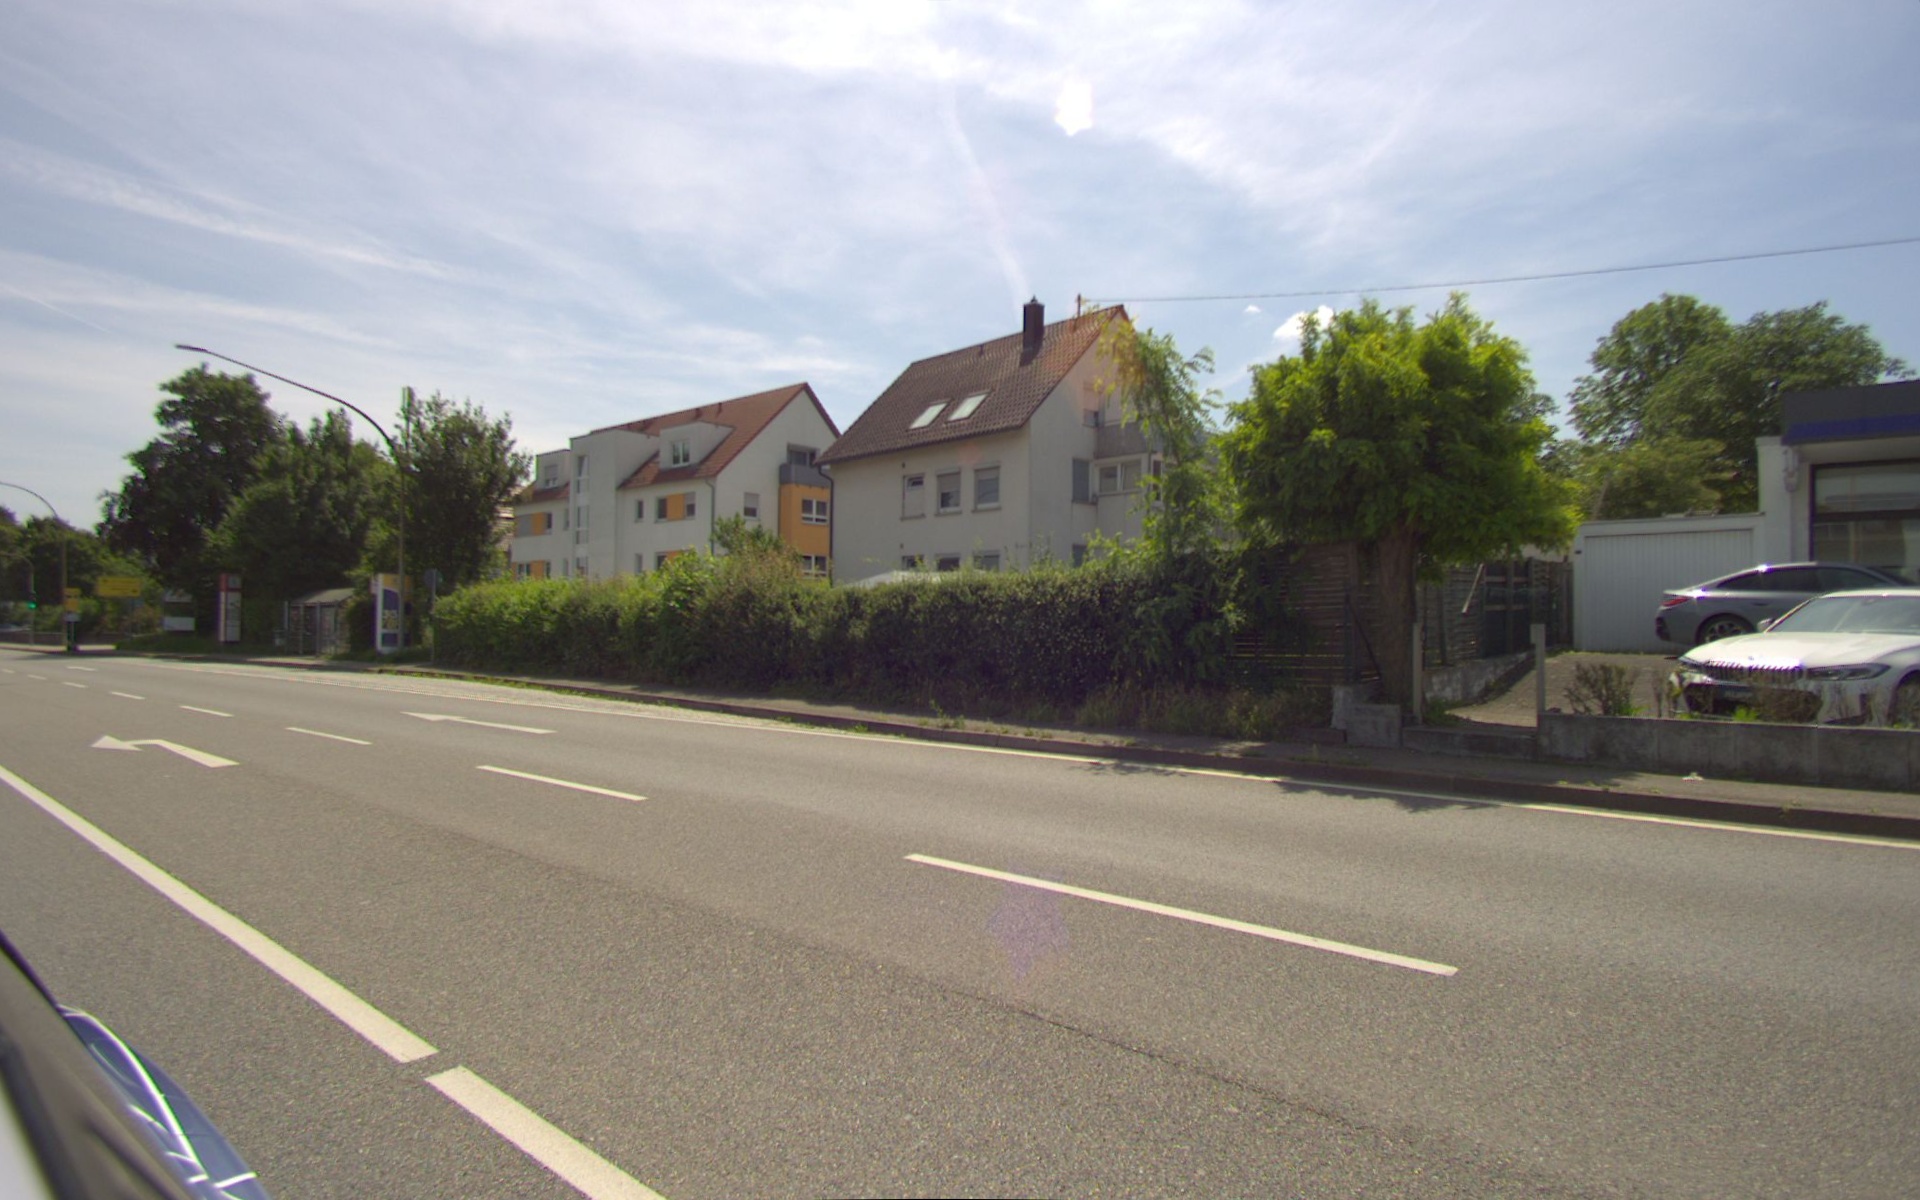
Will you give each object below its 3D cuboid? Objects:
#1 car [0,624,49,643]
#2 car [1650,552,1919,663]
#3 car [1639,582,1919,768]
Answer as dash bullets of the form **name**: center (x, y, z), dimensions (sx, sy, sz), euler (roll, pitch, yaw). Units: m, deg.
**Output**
- **car**: center (-101.795, 3.618, 109.935), dimensions (1.997, 1.783, 3.950), euler (0, 1, 37)
- **car**: center (12.969, 0.099, 14.639), dimensions (1.781, 1.475, 4.590), euler (-1, 0, -39)
- **car**: center (9.041, 0.571, 9.712), dimensions (4.501, 1.458, 1.863), euler (-1, 1, -20)
